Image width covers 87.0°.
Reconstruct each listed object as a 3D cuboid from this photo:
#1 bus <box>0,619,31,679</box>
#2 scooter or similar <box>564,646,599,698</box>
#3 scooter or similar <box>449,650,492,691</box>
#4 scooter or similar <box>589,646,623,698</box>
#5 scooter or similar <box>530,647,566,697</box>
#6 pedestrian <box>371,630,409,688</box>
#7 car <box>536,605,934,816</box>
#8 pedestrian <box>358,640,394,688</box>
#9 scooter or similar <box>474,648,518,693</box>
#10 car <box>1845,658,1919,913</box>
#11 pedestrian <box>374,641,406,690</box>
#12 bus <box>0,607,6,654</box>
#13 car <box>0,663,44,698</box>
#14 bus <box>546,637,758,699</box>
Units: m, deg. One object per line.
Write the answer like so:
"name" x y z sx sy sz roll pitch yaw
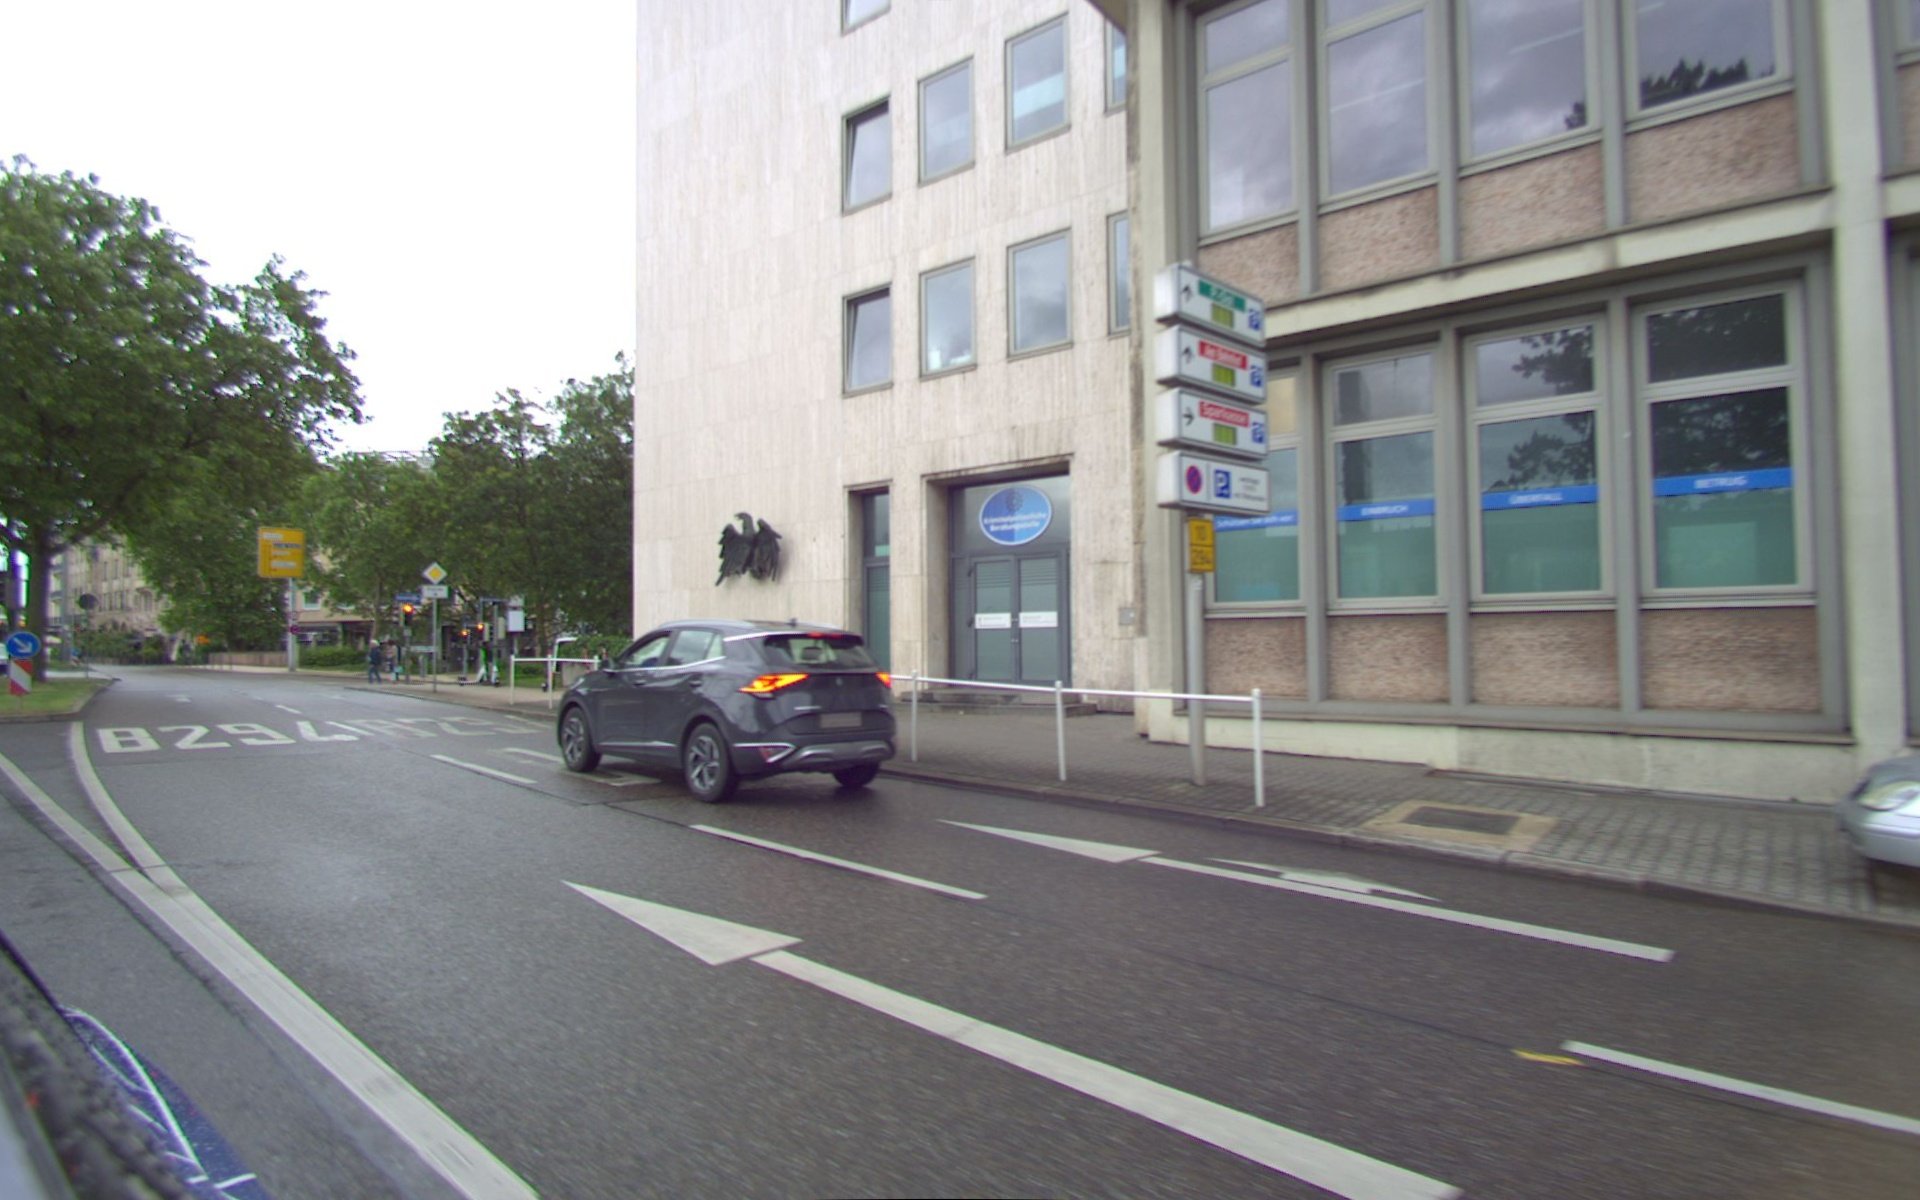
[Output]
"bus" -60.173 3.041 62.236 12.551 3.466 2.924 -3 -5 41
"scooter or similar" -9.185 1.740 24.598 0.599 1.201 1.532 1 -4 -15
"scooter or similar" -14.186 2.031 29.295 1.500 1.176 0.483 -2 -4 38
"scooter or similar" -8.258 1.669 23.653 0.599 1.173 1.532 1 -4 -15
"scooter or similar" -10.292 1.785 25.332 0.599 1.201 1.532 1 -4 -15
"pedestrian" -20.605 2.122 36.588 0.923 2.061 0.874 5 -5 -41
"car" -2.430 0.978 10.220 4.338 1.673 1.801 -2 -4 44
"pedestrian" -20.049 2.193 34.749 0.921 1.615 0.648 -2 -4 31
"scooter or similar" -12.928 1.954 28.185 0.563 1.201 1.575 4 -5 -44
"car" 6.939 0.983 4.784 4.093 1.307 1.673 -2 -2 43
"pedestrian" -20.124 2.309 35.745 0.795 1.723 0.648 -2 -4 34
"bus" -69.387 2.139 70.975 8.838 3.156 2.723 -1 -2 41
"car" -41.561 3.410 43.420 4.390 1.420 1.805 -1 -4 26
"bus" -18.538 4.202 61.428 11.767 3.042 2.898 6 -5 -27
